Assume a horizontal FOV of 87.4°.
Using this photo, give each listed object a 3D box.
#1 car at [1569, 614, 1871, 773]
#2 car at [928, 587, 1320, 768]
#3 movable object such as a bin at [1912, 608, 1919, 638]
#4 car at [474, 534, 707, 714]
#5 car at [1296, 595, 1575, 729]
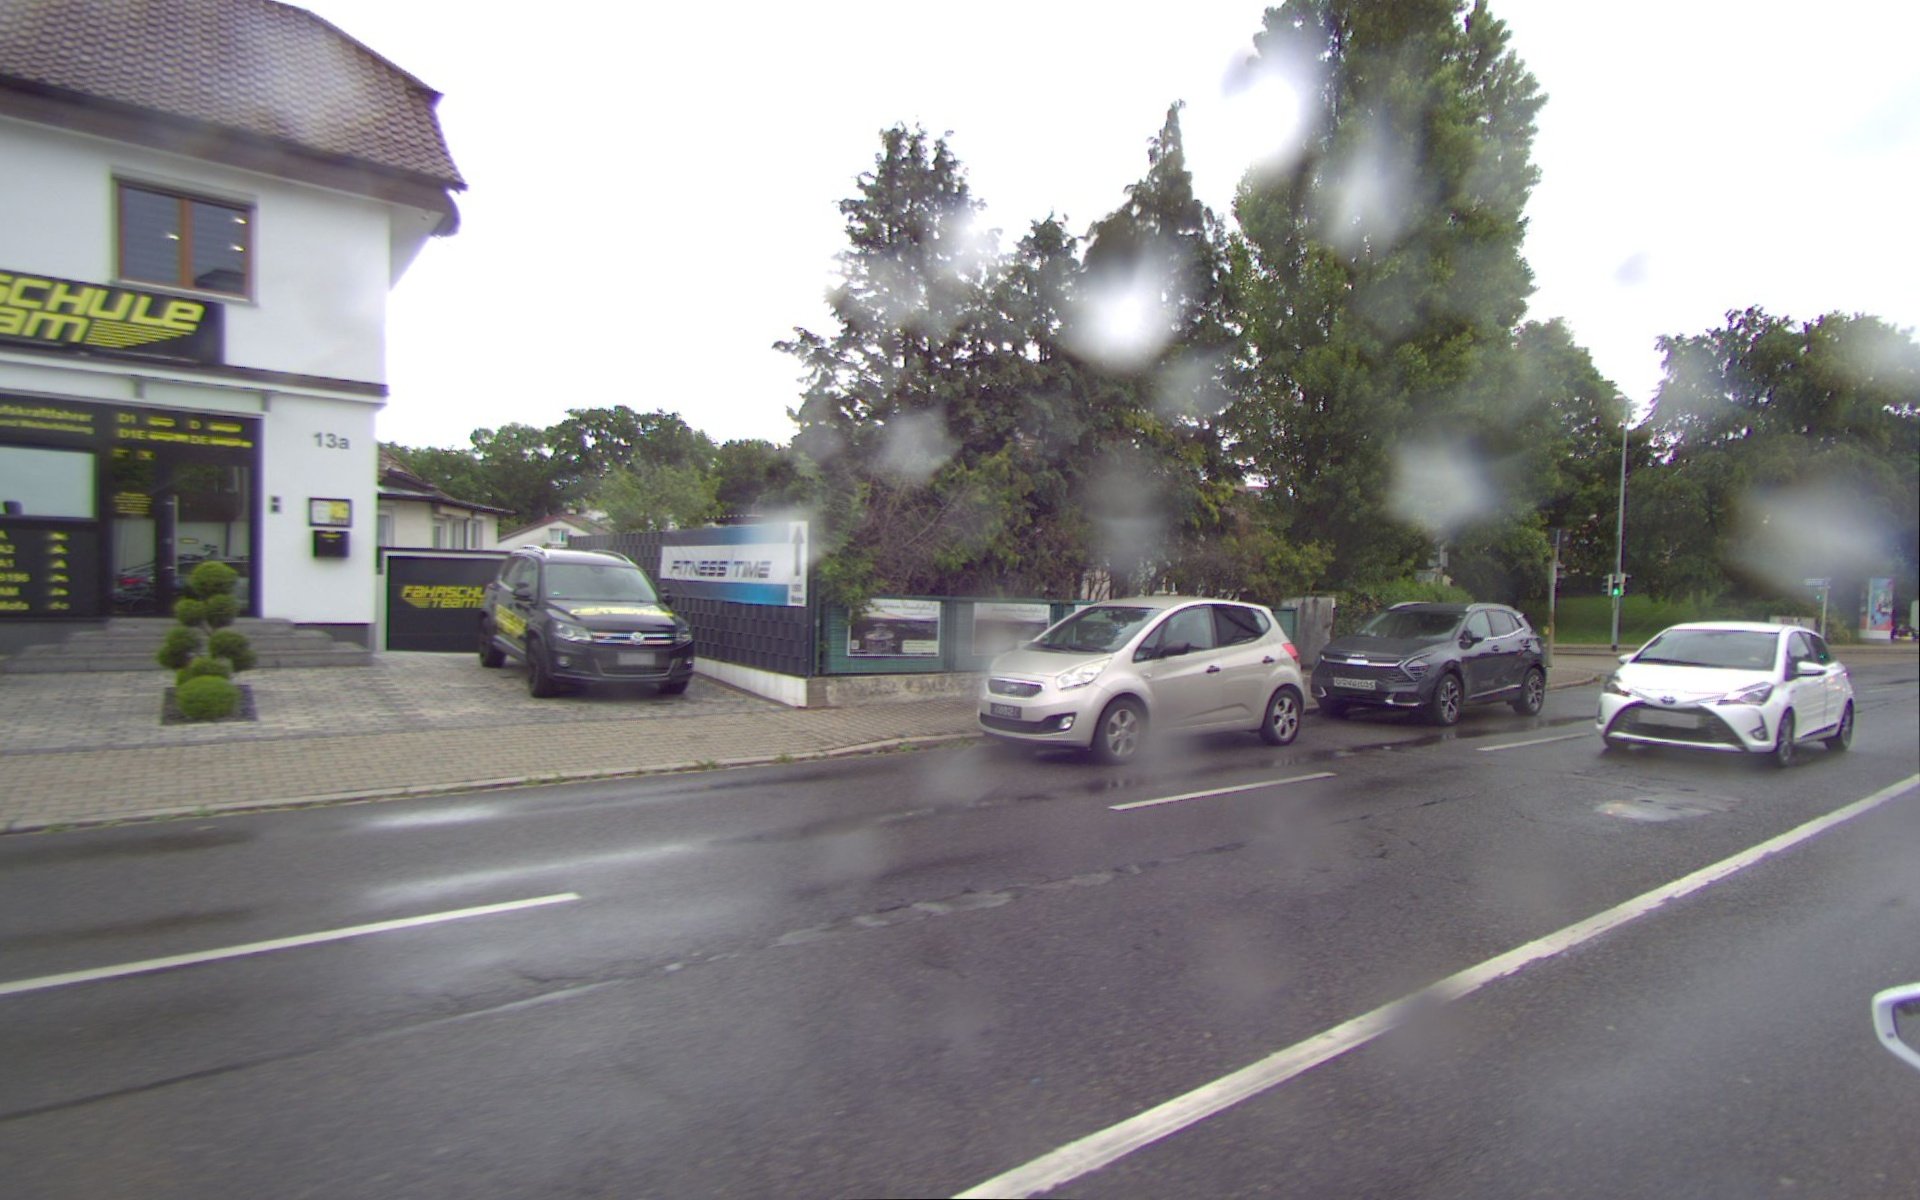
[{"bbox_3d":[9.035,0.973,11.852,3.962,1.550,1.819,1,-1,-37],"label":"car"},{"bbox_3d":[1.862,0.733,10.786,4.104,1.589,1.792,2,0,-37],"label":"car"},{"bbox_3d":[52.095,1.225,53.196,1.560,1.590,2.051,-1,1,-25],"label":"movable object such as a bin"},{"bbox_3d":[-4.835,0.163,12.748,1.722,1.744,4.151,1,4,-35],"label":"car"},{"bbox_3d":[7.115,0.853,14.829,4.555,1.691,1.792,2,0,-37],"label":"car"}]
